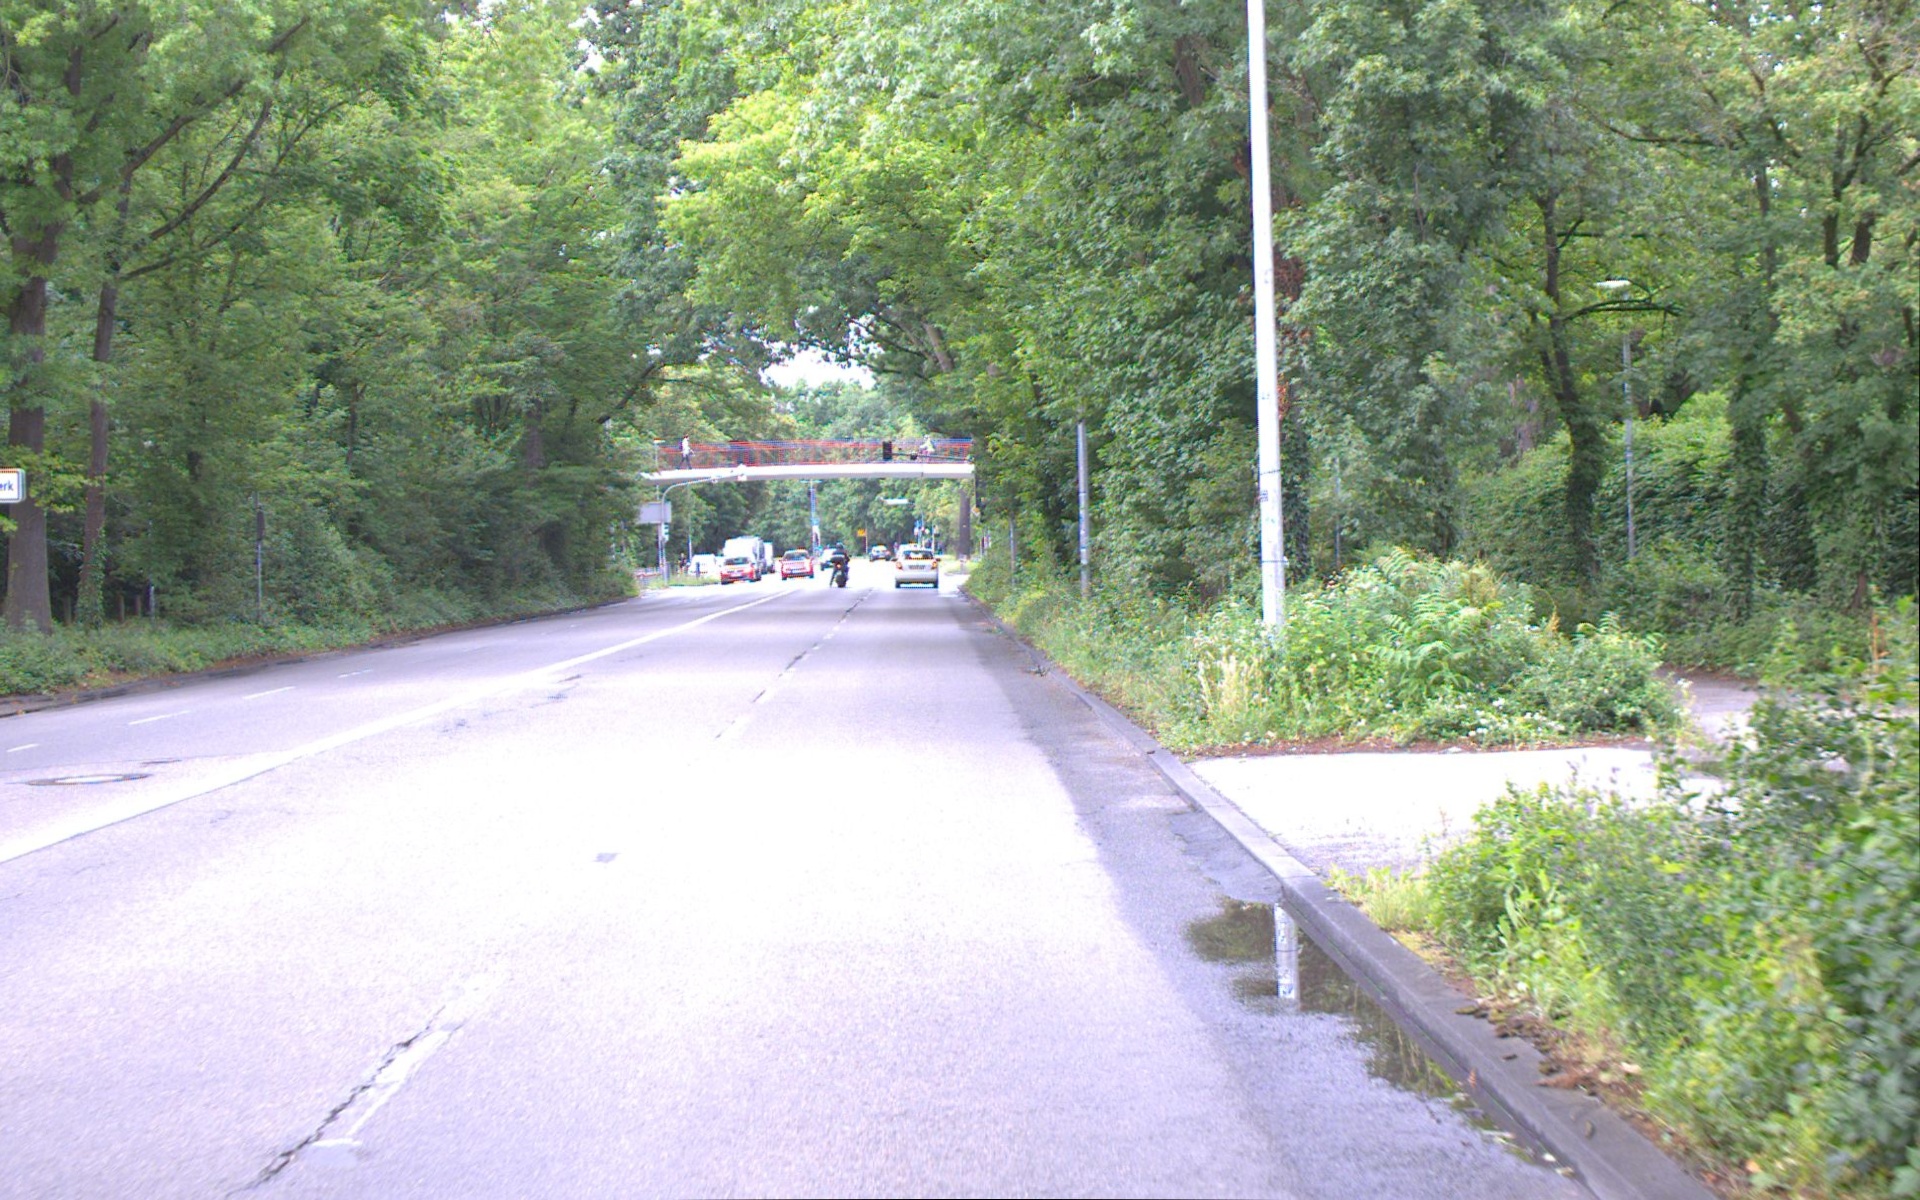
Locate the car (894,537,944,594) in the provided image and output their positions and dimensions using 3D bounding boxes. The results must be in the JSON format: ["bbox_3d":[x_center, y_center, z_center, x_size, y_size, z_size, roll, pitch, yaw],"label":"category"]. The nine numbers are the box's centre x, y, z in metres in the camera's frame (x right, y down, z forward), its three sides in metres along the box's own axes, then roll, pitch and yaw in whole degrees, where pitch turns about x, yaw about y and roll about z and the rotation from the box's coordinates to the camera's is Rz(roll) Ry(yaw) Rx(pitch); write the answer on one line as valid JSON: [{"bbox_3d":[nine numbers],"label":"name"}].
[{"bbox_3d":[-1.554,-1.314,129.437,1.843,2.006,4.001,0,2,-1],"label":"car"}]

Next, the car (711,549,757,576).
[{"bbox_3d":[-11.535,-1.927,175.694,1.993,1.349,3.894,0,1,2],"label":"car"}]

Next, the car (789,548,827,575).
[{"bbox_3d":[-7.783,-1.983,176.269,1.675,1.357,3.921,0,1,2],"label":"car"}]

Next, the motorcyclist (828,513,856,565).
[{"bbox_3d":[-4.567,-2.369,132.845,1.063,2.007,0.843,0,1,-1],"label":"motorcyclist"}]

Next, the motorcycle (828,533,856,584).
[{"bbox_3d":[-4.562,-1.606,133.026,0.990,1.929,2.669,0,1,-1],"label":"motorcycle"}]
